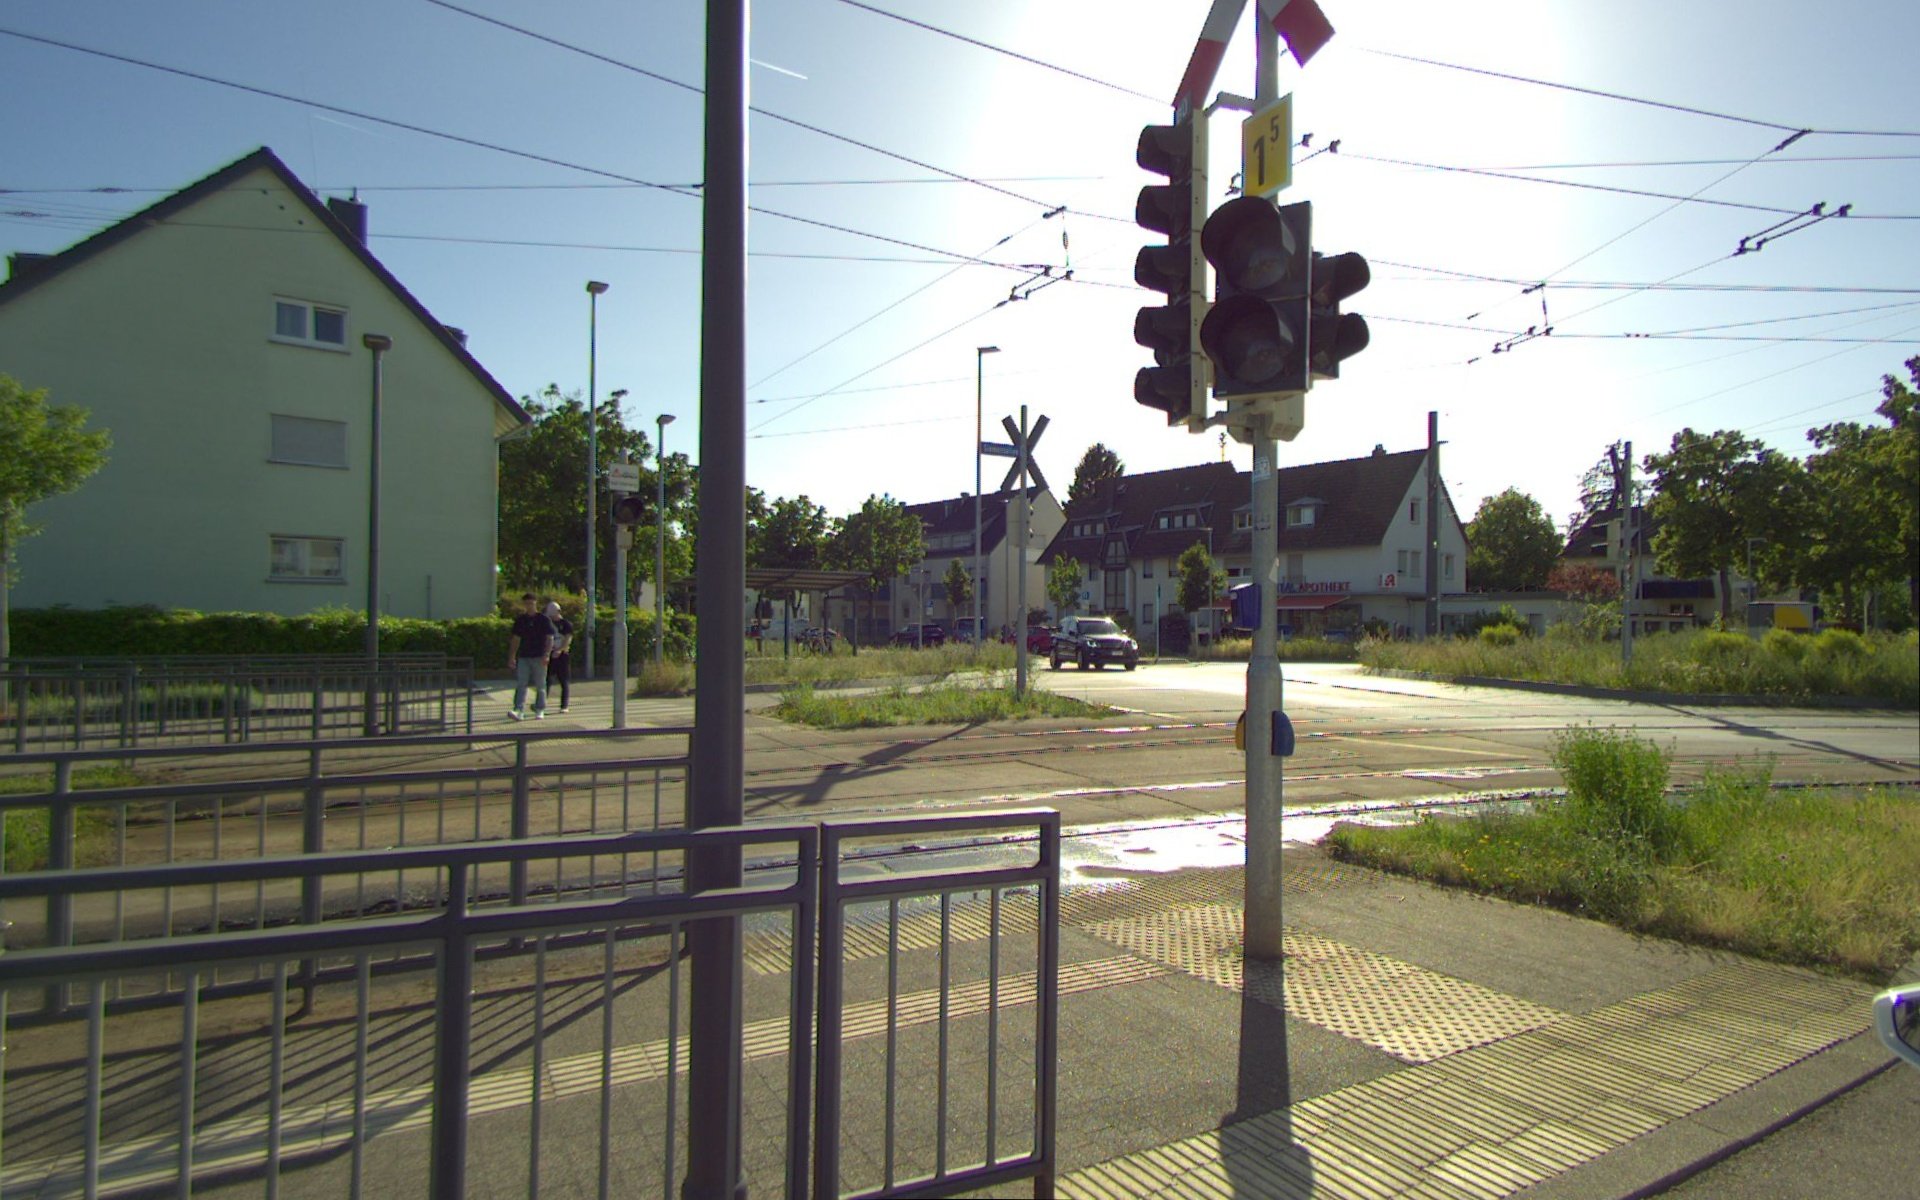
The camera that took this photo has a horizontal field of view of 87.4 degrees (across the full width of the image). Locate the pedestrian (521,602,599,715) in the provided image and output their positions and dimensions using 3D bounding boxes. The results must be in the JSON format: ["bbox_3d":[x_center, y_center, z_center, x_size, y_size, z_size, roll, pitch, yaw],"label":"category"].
[{"bbox_3d":[-6.267,0.904,15.744,0.783,1.683,0.726,3,-1,32],"label":"pedestrian"}]

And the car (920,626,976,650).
[{"bbox_3d":[-0.735,2.272,59.928,3.109,1.315,1.379,2,0,-14],"label":"car"}]

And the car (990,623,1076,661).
[{"bbox_3d":[3.701,2.124,51.678,1.983,1.721,4.322,1,0,-38],"label":"car"}]

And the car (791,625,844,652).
[{"bbox_3d":[-9.748,2.595,68.641,1.905,1.637,4.242,1,0,-34],"label":"car"}]

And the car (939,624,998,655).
[{"bbox_3d":[0.453,2.185,55.775,3.022,1.641,1.408,2,0,-9],"label":"car"}]

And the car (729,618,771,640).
[{"bbox_3d":[-16.308,2.217,77.822,1.533,1.613,4.030,1,-1,-39],"label":"car"}]

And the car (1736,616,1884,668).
[{"bbox_3d":[34.563,1.730,40.871,5.150,2.007,1.995,2,-3,-15],"label":"car"}]

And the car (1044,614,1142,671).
[{"bbox_3d":[4.178,1.386,32.287,1.786,1.692,4.249,-1,-3,-12],"label":"car"}]

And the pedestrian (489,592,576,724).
[{"bbox_3d":[-6.102,0.820,14.355,0.677,1.794,0.824,3,-1,32],"label":"pedestrian"}]

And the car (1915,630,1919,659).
[{"bbox_3d":[59.273,2.718,60.157,4.171,1.722,1.983,2,0,-32],"label":"car"}]

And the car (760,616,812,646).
[{"bbox_3d":[-12.862,2.276,74.127,1.881,2.041,4.321,1,0,-39],"label":"car"}]
